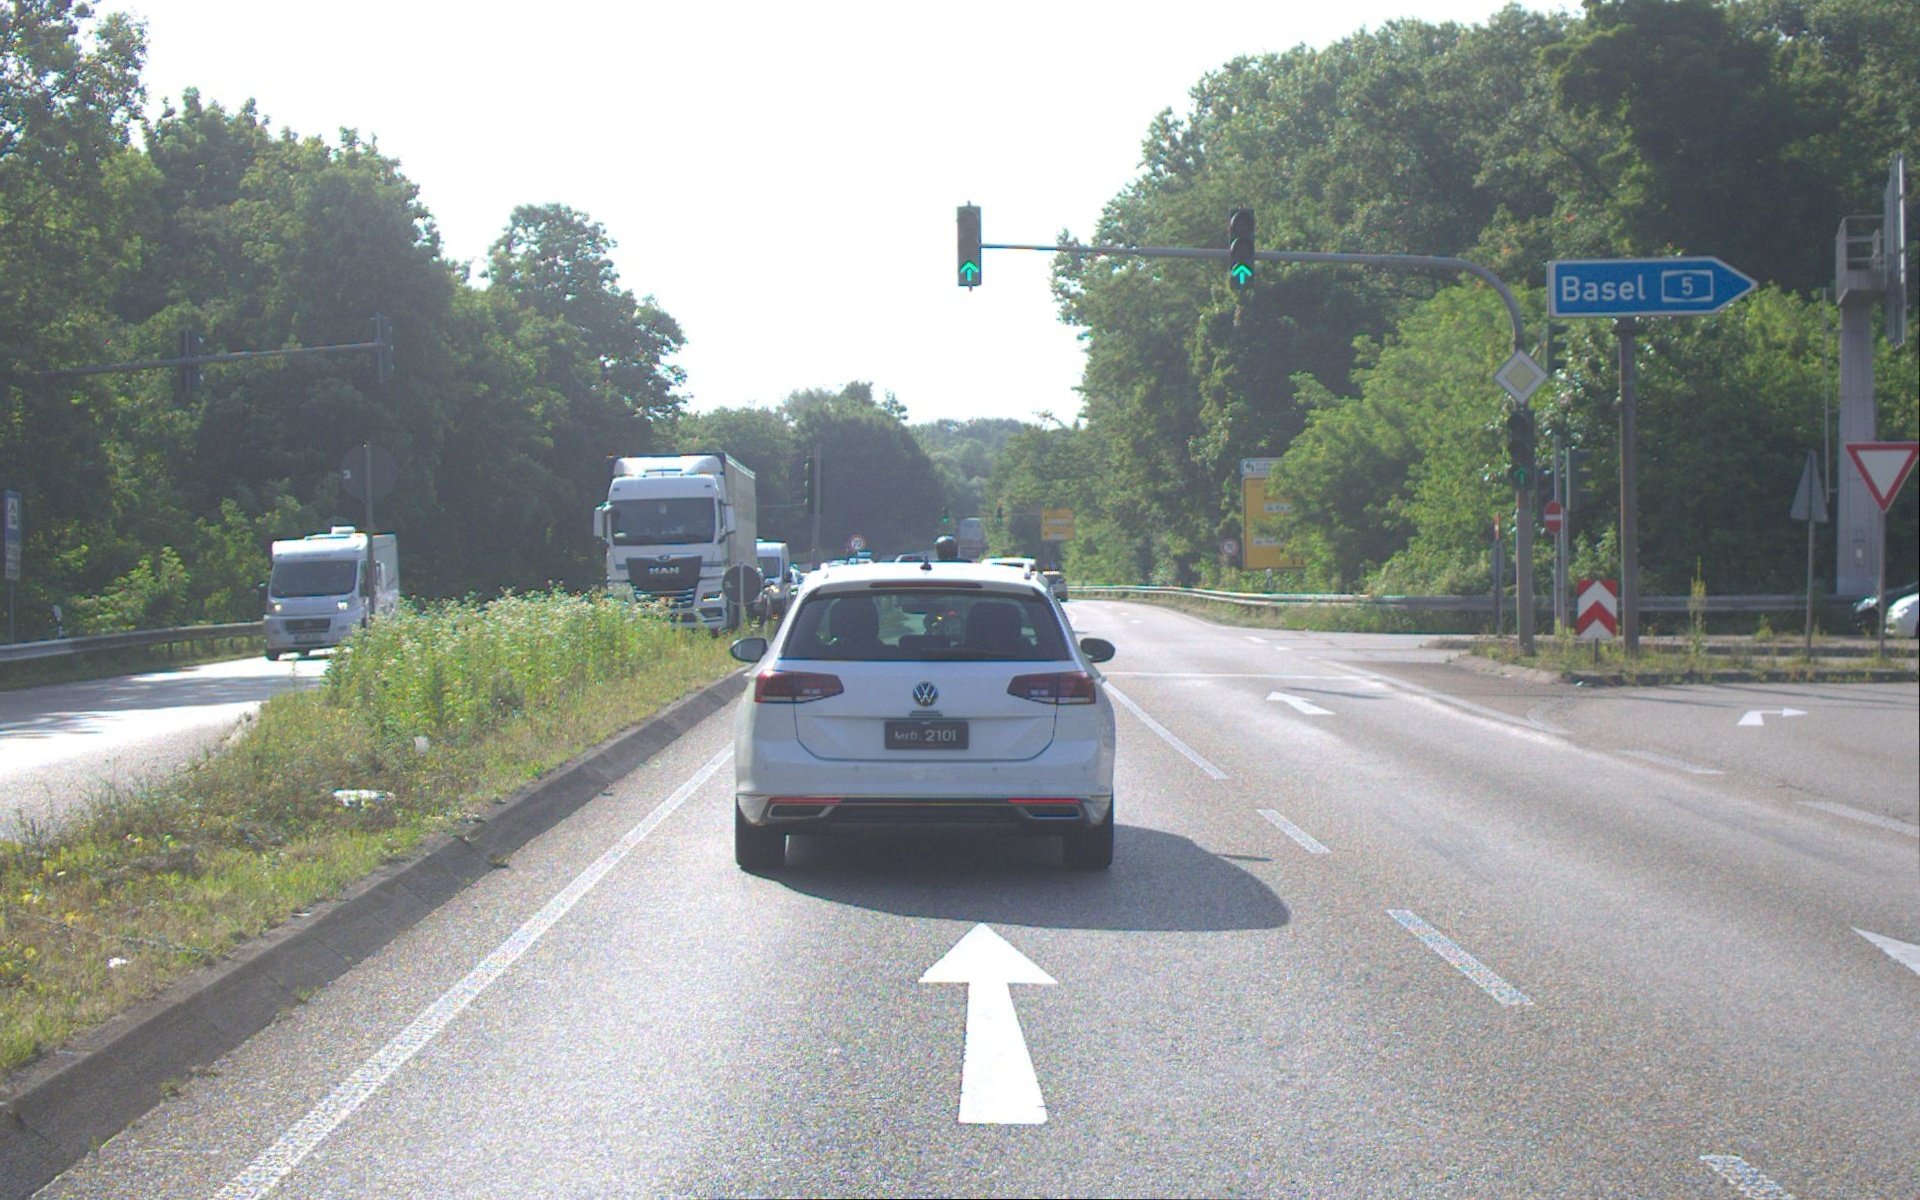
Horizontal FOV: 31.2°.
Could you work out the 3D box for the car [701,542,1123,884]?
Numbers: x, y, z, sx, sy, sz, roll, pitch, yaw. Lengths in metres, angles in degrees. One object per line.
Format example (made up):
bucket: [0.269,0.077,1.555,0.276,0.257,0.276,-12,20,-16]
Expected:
car: [-0.190,0.470,17.701,1.870,1.516,4.834,0,1,1]

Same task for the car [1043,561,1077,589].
car: [5.427,-1.365,187.277,1.761,1.375,3.972,-2,2,1]

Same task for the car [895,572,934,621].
car: [-2.750,-0.240,210.649,2.210,2.879,7.011,-2,1,0]

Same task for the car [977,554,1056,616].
car: [1.300,-0.363,78.857,1.761,1.375,3.971,1,1,1]

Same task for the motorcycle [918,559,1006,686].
motorcycle: [0.045,0.253,42.372,0.909,1.448,2.689,-4,1,2]

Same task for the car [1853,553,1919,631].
car: [19.802,-0.162,67.534,4.110,1.491,1.785,0,1,4]

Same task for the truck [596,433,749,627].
truck: [-6.182,-1.502,74.772,2.890,3.984,6.722,1,1,-1]

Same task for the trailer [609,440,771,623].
trailer: [-6.330,-1.604,82.730,2.991,3.982,14.015,1,1,-1]

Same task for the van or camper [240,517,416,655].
van or camper: [-13.502,-0.327,73.894,2.413,2.701,6.437,-3,1,0]

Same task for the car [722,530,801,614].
car: [-6.267,-0.901,109.250,2.075,2.525,6.164,-2,1,0]

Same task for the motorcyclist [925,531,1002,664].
motorcyclist: [0.050,-0.041,42.418,0.884,1.610,1.290,1,1,2]

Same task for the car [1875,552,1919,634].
car: [18.993,-0.138,63.815,3.598,1.498,1.808,0,1,5]
